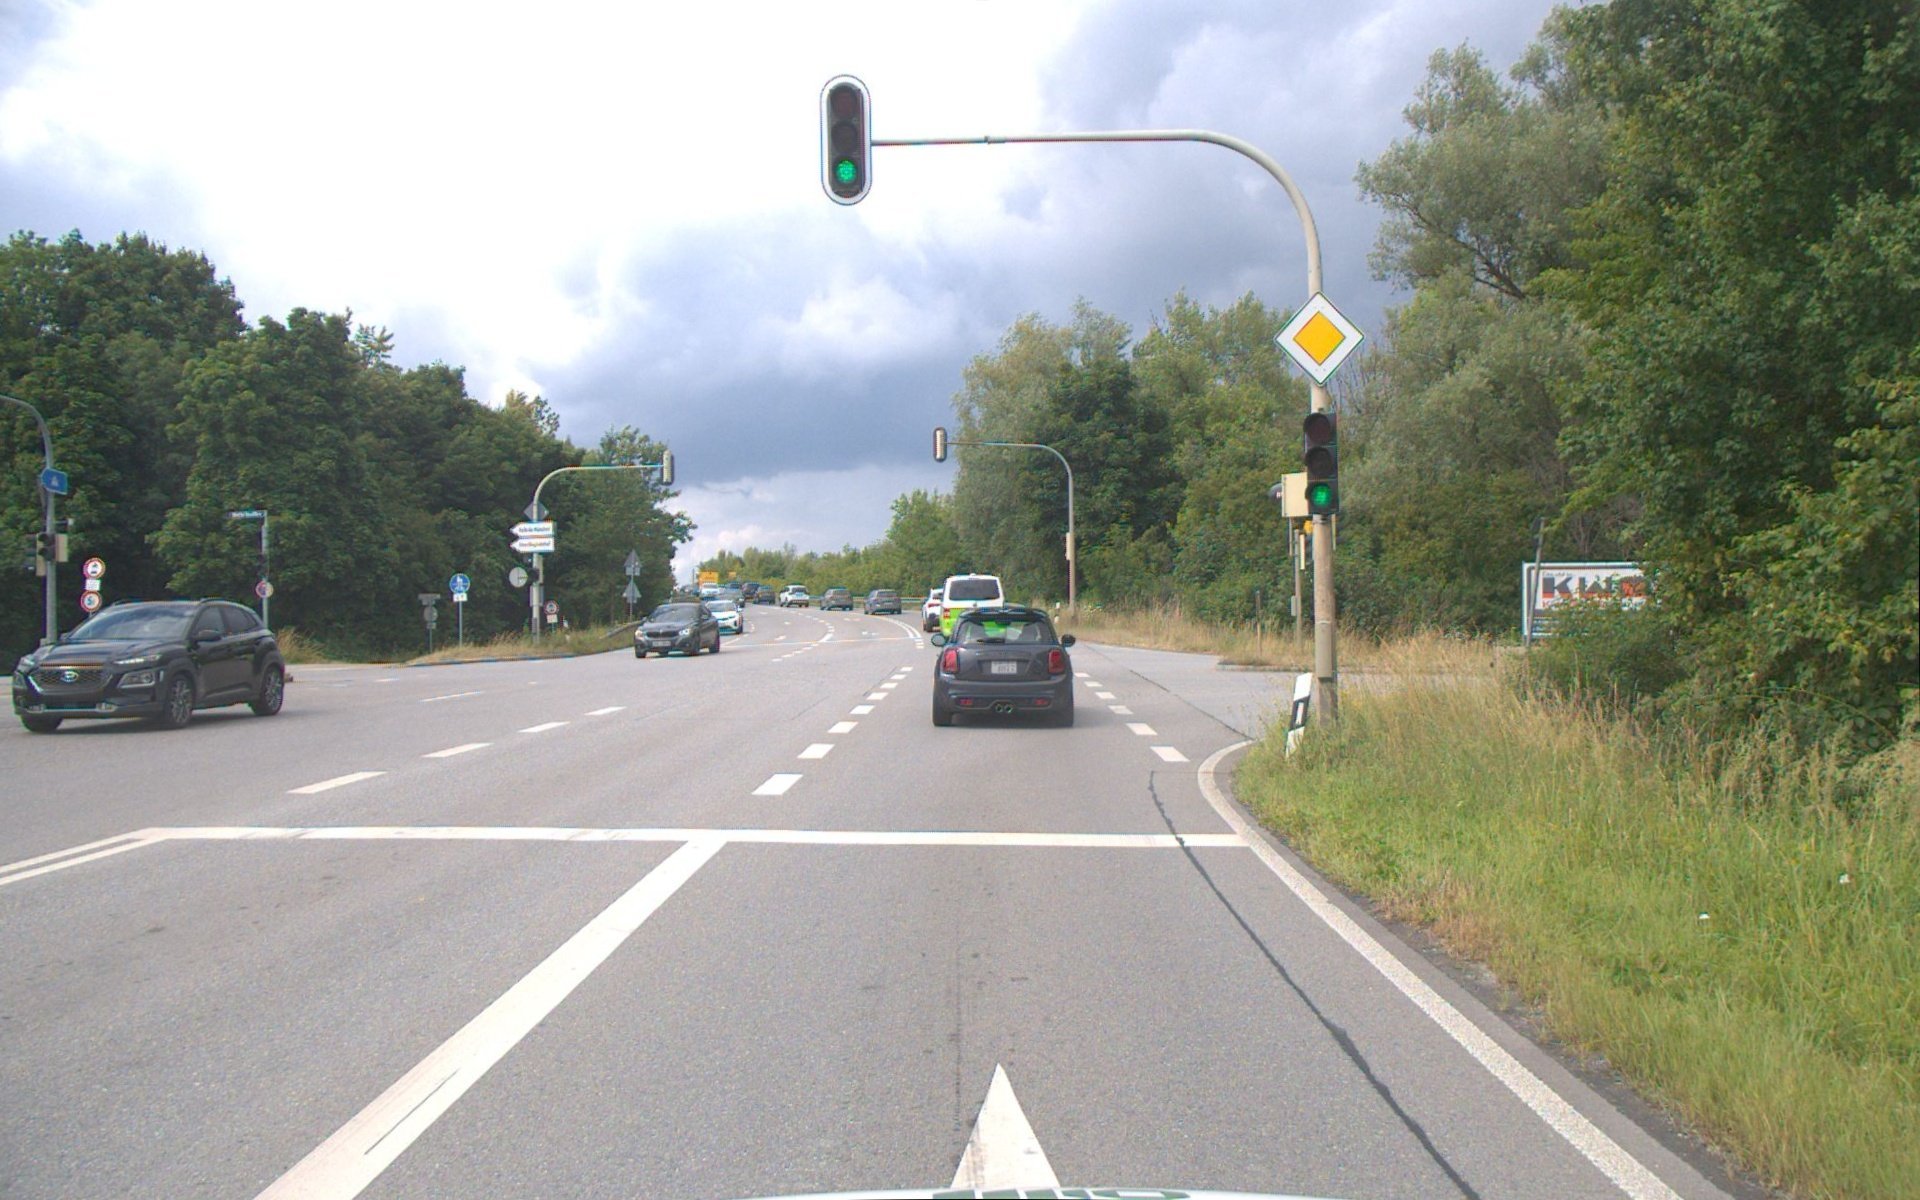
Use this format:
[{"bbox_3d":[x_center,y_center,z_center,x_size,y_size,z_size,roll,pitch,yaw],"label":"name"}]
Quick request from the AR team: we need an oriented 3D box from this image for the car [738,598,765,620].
[{"bbox_3d":[-16.360,0.716,129.974,1.704,1.429,4.248,-7,1,-3],"label":"car"}]

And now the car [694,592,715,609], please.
[{"bbox_3d":[-25.423,0.028,164.499,1.956,1.641,3.993,-1,1,-8],"label":"car"}]

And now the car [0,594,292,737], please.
[{"bbox_3d":[-10.014,0.744,20.577,1.754,1.601,4.000,0,0,1],"label":"car"}]

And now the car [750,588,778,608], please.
[{"bbox_3d":[-17.559,-0.170,148.261,1.960,1.725,4.468,0,-1,-14],"label":"car"}]

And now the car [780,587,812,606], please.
[{"bbox_3d":[-12.982,-0.252,130.635,1.959,1.502,4.469,0,-1,-14],"label":"car"}]

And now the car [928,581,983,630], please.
[{"bbox_3d":[-0.211,0.215,61.841,1.953,1.713,3.999,-1,-1,-1],"label":"car"}]

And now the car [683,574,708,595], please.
[{"bbox_3d":[-22.497,-1.328,140.543,1.958,1.720,3.989,-1,1,-12],"label":"car"}]

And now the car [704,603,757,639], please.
[{"bbox_3d":[-10.205,0.904,73.657,1.694,1.531,4.347,-1,0,1],"label":"car"}]

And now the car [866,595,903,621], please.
[{"bbox_3d":[-4.452,0.464,97.361,1.955,1.502,4.480,0,-1,-6],"label":"car"}]

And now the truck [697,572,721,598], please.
[{"bbox_3d":[-32.887,-1.929,216.593,2.668,2.949,8.745,1,-2,-11],"label":"truck"}]

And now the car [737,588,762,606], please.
[{"bbox_3d":[-20.694,-0.268,162.483,1.960,1.725,4.468,0,-1,-14],"label":"car"}]

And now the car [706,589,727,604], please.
[{"bbox_3d":[-29.529,-0.414,200.460,1.961,1.818,4.465,0,0,-16],"label":"car"}]

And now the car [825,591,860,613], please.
[{"bbox_3d":[-8.187,0.157,114.828,1.957,1.502,4.474,0,-1,-10],"label":"car"}]

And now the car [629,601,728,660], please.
[{"bbox_3d":[-8.144,0.860,48.208,1.751,1.556,4.905,-3,0,3],"label":"car"}]

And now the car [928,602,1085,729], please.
[{"bbox_3d":[0.576,0.765,21.164,1.807,1.453,3.841,1,0,1],"label":"car"}]

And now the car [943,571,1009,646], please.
[{"bbox_3d":[0.432,0.198,47.652,1.807,2.021,3.841,0,2,0],"label":"car"}]
